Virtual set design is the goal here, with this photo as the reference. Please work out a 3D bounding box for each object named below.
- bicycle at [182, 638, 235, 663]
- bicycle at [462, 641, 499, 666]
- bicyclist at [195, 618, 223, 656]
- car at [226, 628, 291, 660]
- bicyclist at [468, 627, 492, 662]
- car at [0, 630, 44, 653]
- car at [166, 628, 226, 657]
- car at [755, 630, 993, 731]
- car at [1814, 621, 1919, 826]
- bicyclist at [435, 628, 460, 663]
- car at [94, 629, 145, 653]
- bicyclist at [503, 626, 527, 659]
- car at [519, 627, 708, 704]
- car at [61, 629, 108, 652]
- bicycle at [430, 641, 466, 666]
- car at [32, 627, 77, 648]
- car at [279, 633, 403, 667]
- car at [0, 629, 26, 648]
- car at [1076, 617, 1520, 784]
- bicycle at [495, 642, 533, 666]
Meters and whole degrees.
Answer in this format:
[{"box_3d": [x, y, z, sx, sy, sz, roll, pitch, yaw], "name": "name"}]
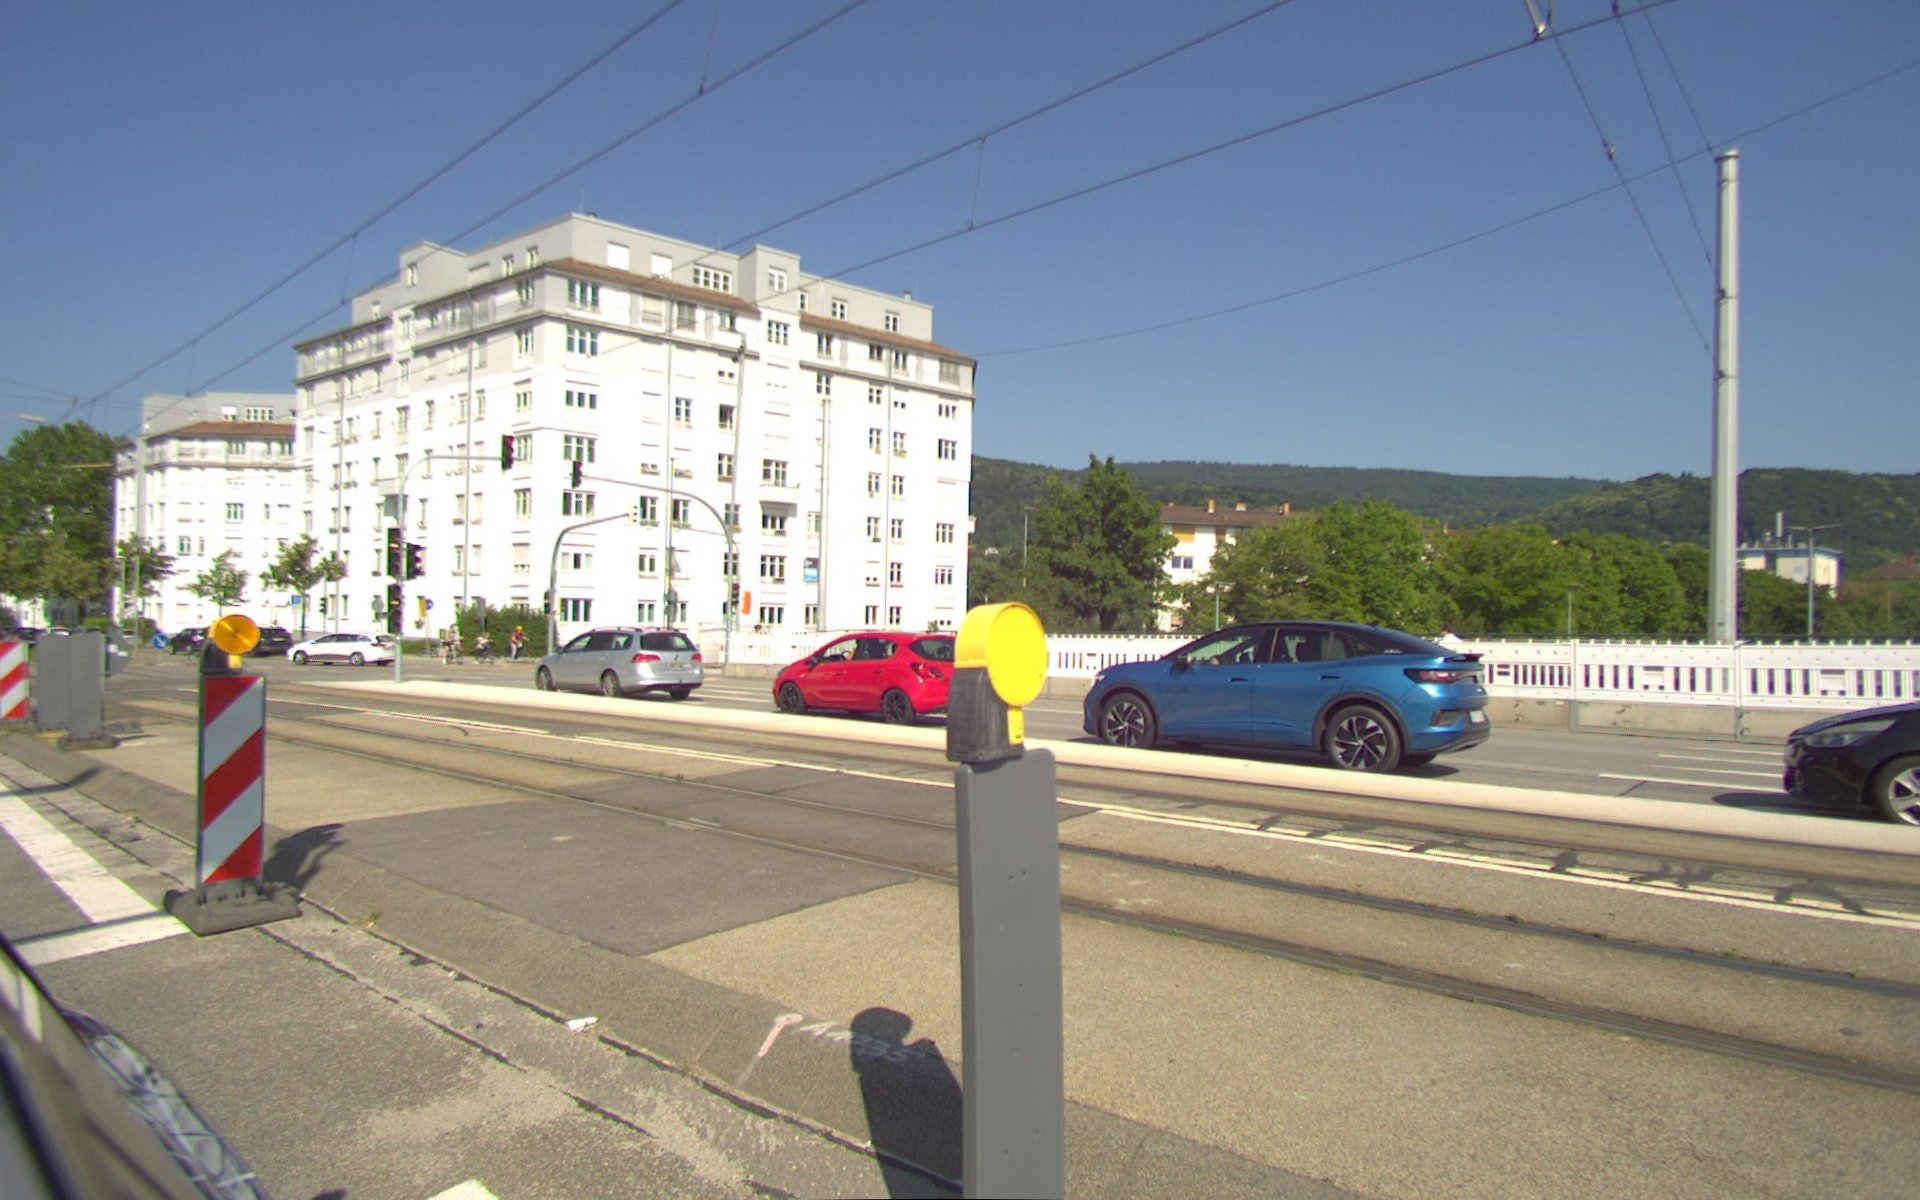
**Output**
[{"box_3d": [-33.848, 2.276, 45.590, 1.881, 1.028, 0.823, -1, -2, -36], "name": "bicycle"}, {"box_3d": [-22.218, 2.483, 46.878, 1.778, 1.108, 0.622, -1, -1, 29], "name": "bicycle"}, {"box_3d": [-33.840, 1.670, 45.624, 0.993, 1.666, 0.811, -1, -2, -36], "name": "bicyclist"}, {"box_3d": [-37.651, 2.332, 54.296, 3.732, 1.650, 1.719, -1, -2, 36], "name": "car"}, {"box_3d": [-22.255, 2.073, 46.905, 0.914, 1.591, 0.618, -1, -1, 29], "name": "bicyclist"}, {"box_3d": [-63.558, 2.786, 68.547, 3.655, 1.504, 1.575, -1, -3, 37], "name": "car"}, {"box_3d": [-44.668, 2.474, 59.152, 3.730, 1.650, 1.720, -1, -2, 34], "name": "car"}, {"box_3d": [-1.489, 1.234, 16.540, 3.978, 1.448, 1.518, -1, -3, 41], "name": "car"}, {"box_3d": [8.755, 0.926, 7.086, 4.173, 1.512, 1.490, -1, -4, 40], "name": "car"}, {"box_3d": [-23.688, 2.096, 46.780, 0.914, 1.601, 0.618, -1, 0, 29], "name": "bicyclist"}, {"box_3d": [-55.141, 2.669, 66.397, 3.732, 1.496, 1.719, -1, -2, 36], "name": "car"}, {"box_3d": [-20.744, 1.974, 47.169, 0.912, 1.489, 0.592, -1, -2, 25], "name": "bicyclist"}, {"box_3d": [-7.348, 1.315, 21.241, 4.640, 1.448, 1.620, -1, -4, 41], "name": "car"}, {"box_3d": [-61.539, 2.825, 71.113, 3.732, 1.496, 1.719, -1, -2, 36], "name": "car"}, {"box_3d": [-23.649, 2.470, 46.761, 1.778, 1.107, 0.612, -1, 0, 29], "name": "bicycle"}, {"box_3d": [-67.485, 2.790, 75.433, 3.732, 1.496, 1.719, -1, -2, 36], "name": "car"}, {"box_3d": [-26.378, 2.124, 43.181, 4.431, 1.423, 1.699, 0, -2, 6], "name": "car"}, {"box_3d": [-78.155, 3.123, 82.925, 3.732, 1.496, 1.719, -1, -2, 36], "name": "car"}, {"box_3d": [3.678, 1.007, 11.591, 4.553, 1.562, 1.652, -1, -3, 41], "name": "car"}, {"box_3d": [-20.800, 2.508, 47.187, 1.804, 1.108, 0.599, -1, -2, 25], "name": "bicycle"}]
